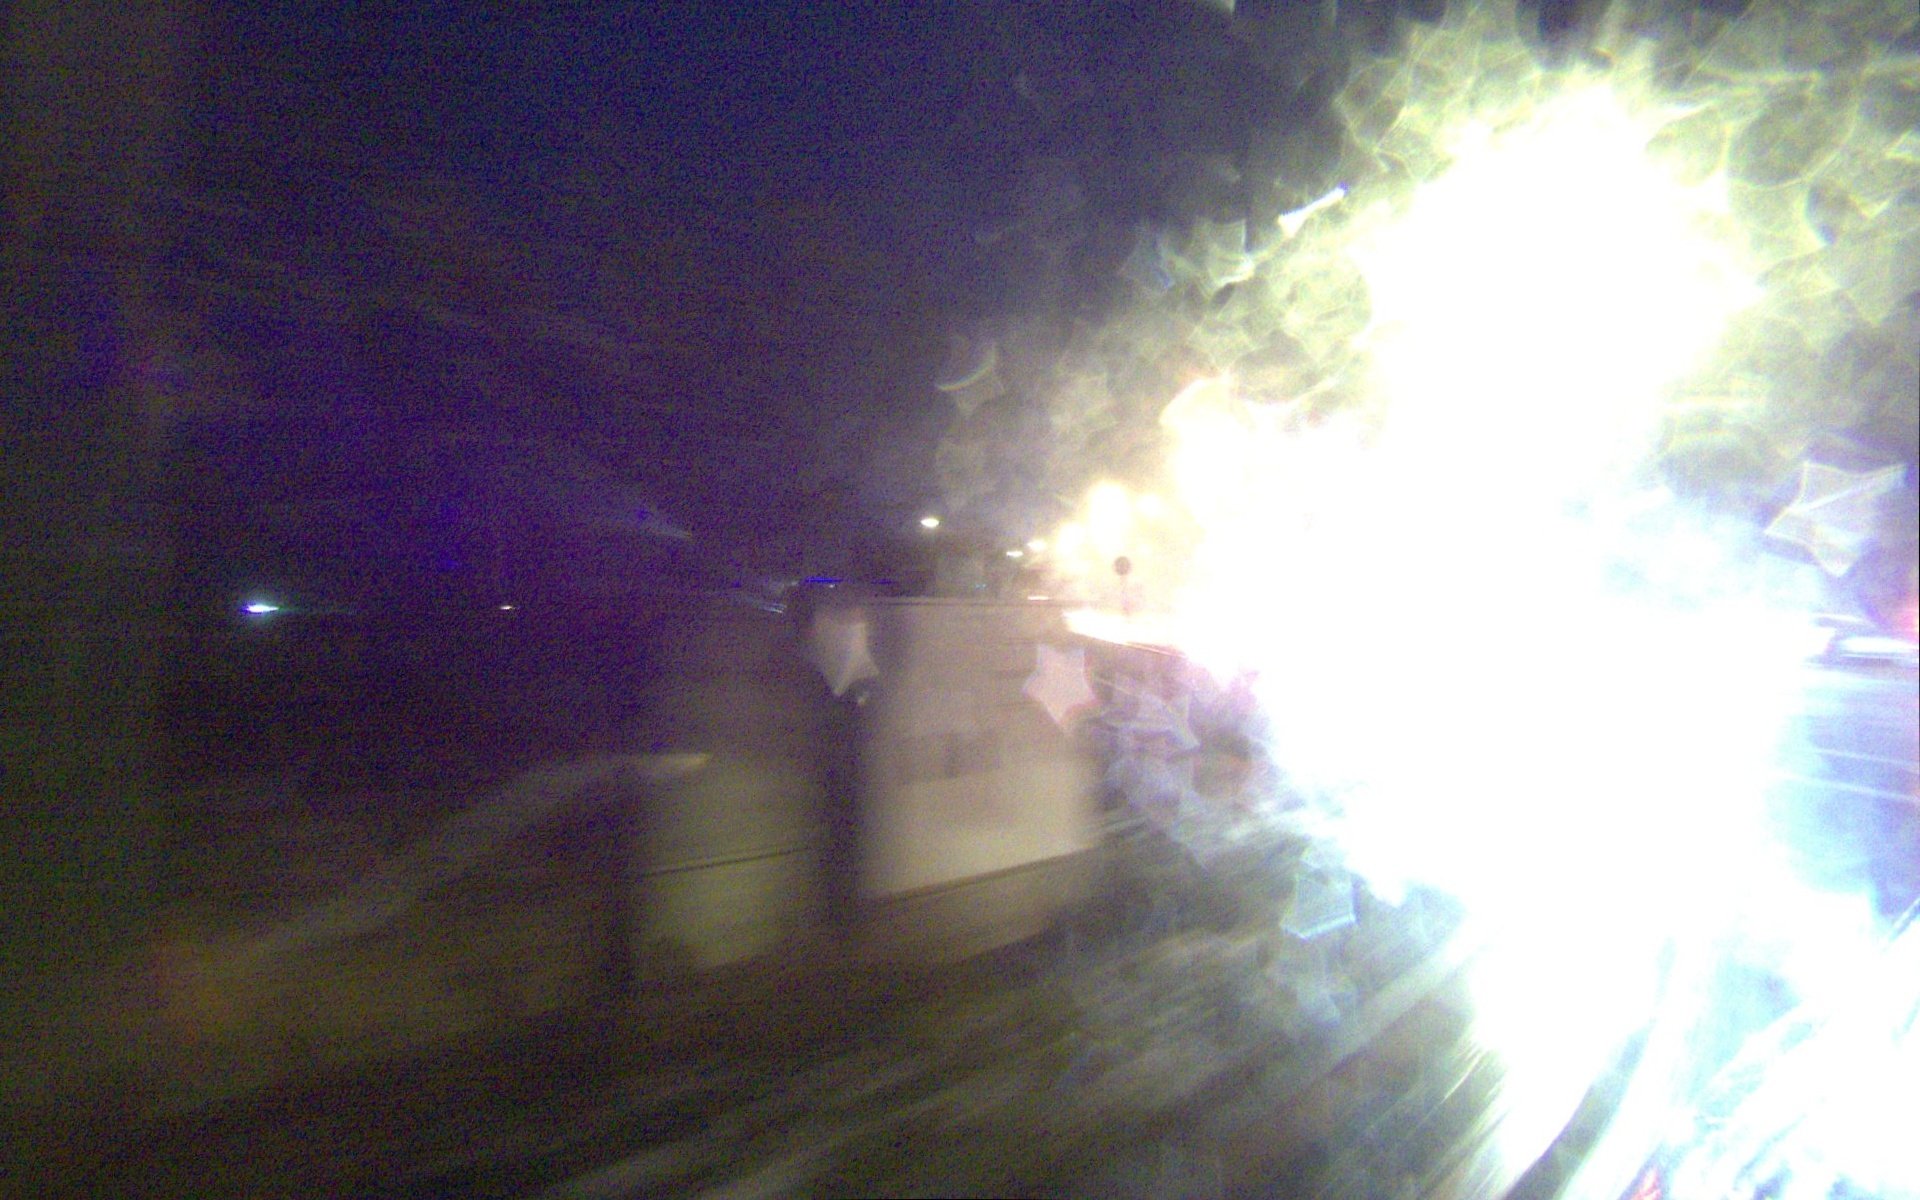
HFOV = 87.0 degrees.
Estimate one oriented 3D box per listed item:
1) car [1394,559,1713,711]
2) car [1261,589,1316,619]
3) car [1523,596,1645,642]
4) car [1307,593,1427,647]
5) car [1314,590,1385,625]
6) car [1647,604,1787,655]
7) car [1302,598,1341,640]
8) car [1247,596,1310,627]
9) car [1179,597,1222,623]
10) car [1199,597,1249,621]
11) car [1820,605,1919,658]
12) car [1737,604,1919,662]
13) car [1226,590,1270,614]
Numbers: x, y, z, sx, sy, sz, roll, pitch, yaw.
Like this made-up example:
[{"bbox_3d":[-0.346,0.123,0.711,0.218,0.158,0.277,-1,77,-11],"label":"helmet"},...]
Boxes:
[{"bbox_3d":[8.637,0.451,15.302,1.964,1.950,4.373,0,0,-5],"label":"car"},{"bbox_3d":[19.800,0.202,61.158,1.768,1.686,3.981,1,2,-4],"label":"car"},{"bbox_3d":[25.212,0.710,41.117,1.821,1.557,4.538,3,1,-4],"label":"car"},{"bbox_3d":[13.328,0.626,33.408,1.794,1.670,4.143,0,0,-9],"label":"car"},{"bbox_3d":[20.836,0.341,54.344,1.768,1.686,4.493,1,2,-4],"label":"car"},{"bbox_3d":[25.717,0.966,34.585,1.468,1.622,4.149,0,0,-4],"label":"car"},{"bbox_3d":[25.729,1.282,71.890,2.231,2.743,5.566,1,2,23],"label":"car"},{"bbox_3d":[17.646,0.590,56.284,1.782,1.598,4.310,2,0,-5],"label":"car"},{"bbox_3d":[16.511,0.656,69.650,1.730,1.747,3.905,0,0,-4],"label":"car"},{"bbox_3d":[16.513,0.543,63.487,1.747,1.503,4.415,0,0,-3],"label":"car"},{"bbox_3d":[23.079,0.752,24.280,1.616,1.218,3.618,1,0,-5],"label":"car"},{"bbox_3d":[25.602,0.908,29.688,1.851,1.550,4.438,1,0,-8],"label":"car"},{"bbox_3d":[19.849,0.114,69.864,1.684,1.505,4.061,1,2,-3],"label":"car"}]
